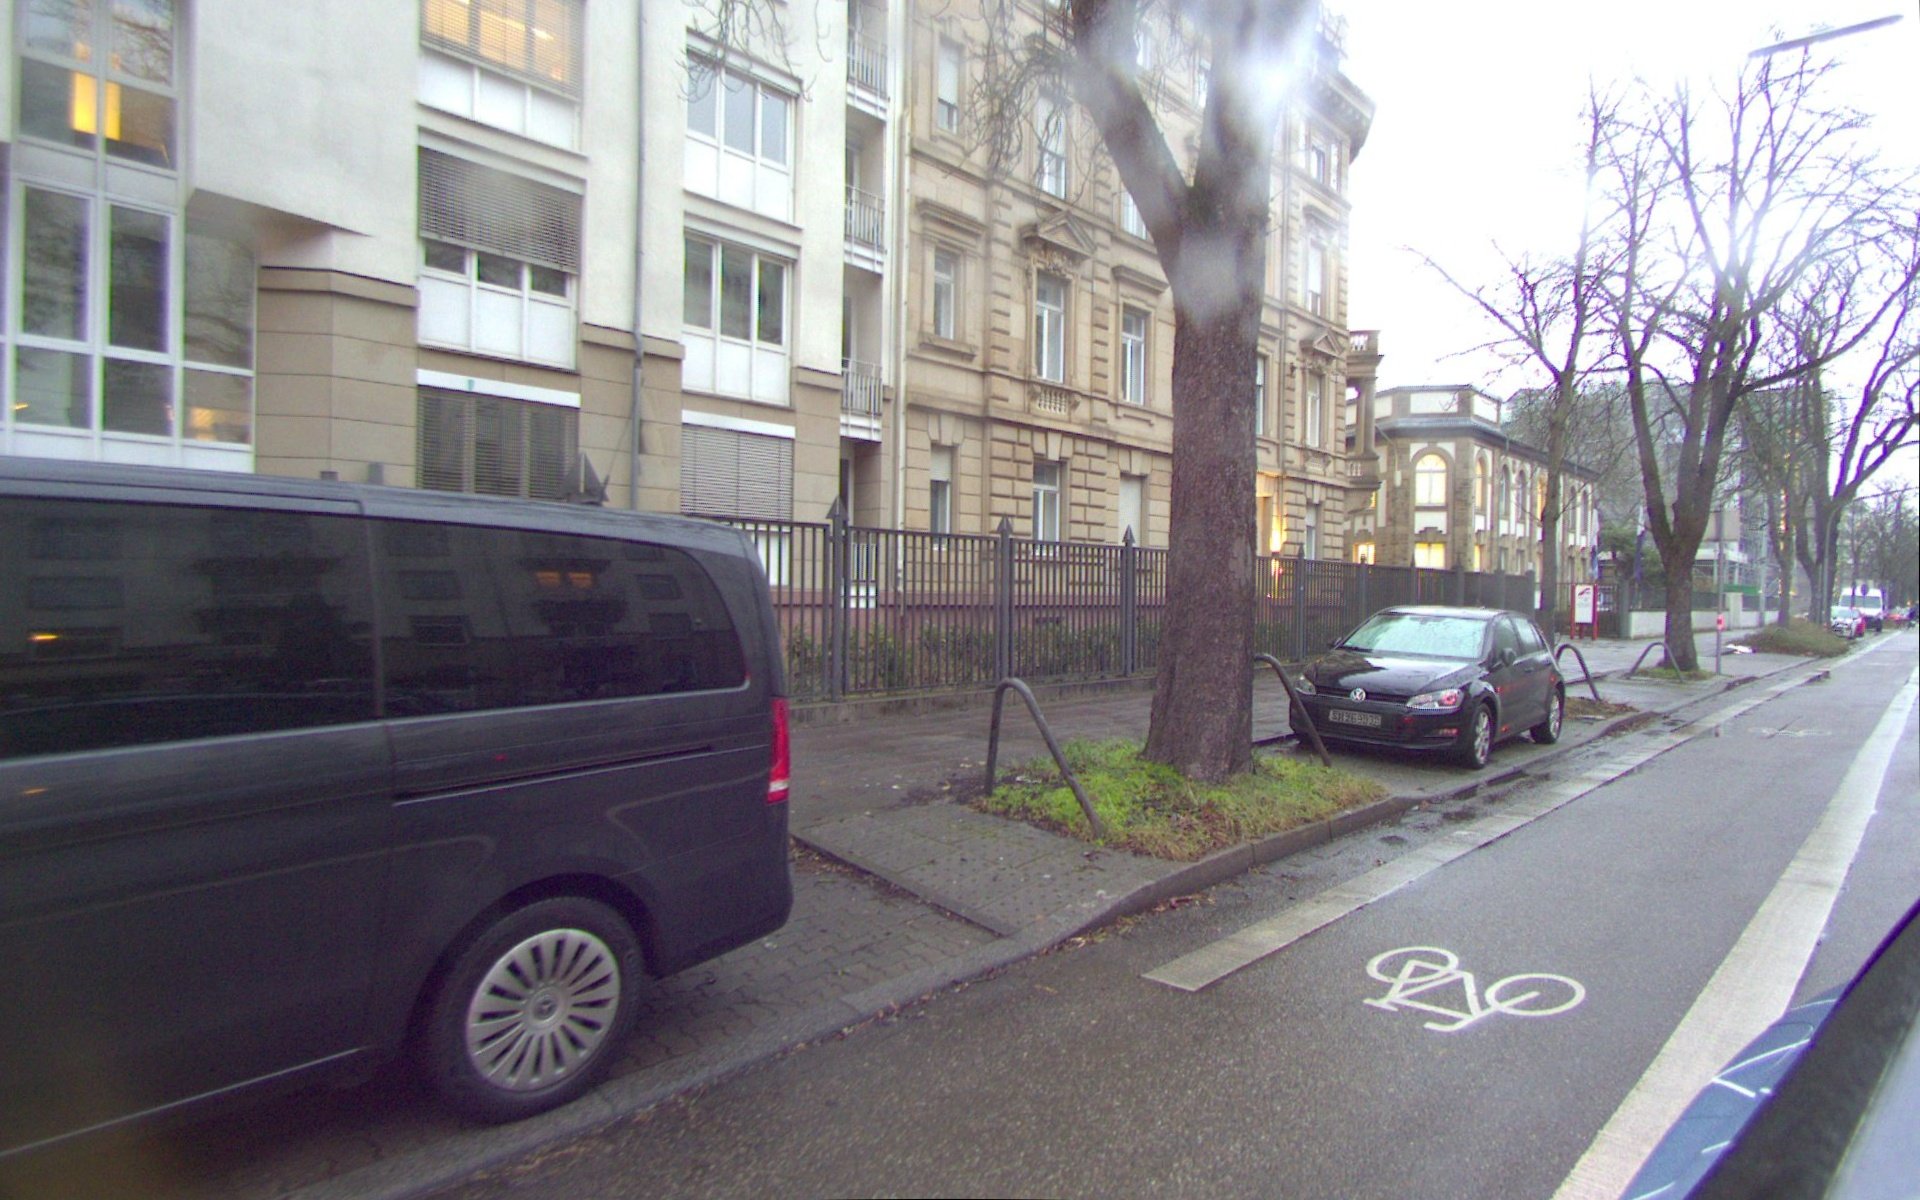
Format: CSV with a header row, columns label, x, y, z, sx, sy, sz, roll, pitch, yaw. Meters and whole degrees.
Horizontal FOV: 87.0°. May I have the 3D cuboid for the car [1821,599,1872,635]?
label,x,y,z,sx,sy,sz,roll,pitch,yaw
car,38.314,0.697,43.722,1.623,1.425,3.939,0,1,42

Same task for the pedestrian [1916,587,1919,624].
label,x,y,z,sx,sy,sz,roll,pitch,yaw
pedestrian,60.785,0.347,63.532,1.115,2.287,0.938,0,0,43

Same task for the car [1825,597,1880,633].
label,x,y,z,sx,sy,sz,roll,pitch,yaw
car,44.988,0.700,50.996,1.992,1.703,3.939,0,1,42

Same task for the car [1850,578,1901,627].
label,x,y,z,sx,sy,sz,roll,pitch,yaw
car,52.208,0.110,57.744,2.086,2.670,5.367,0,1,42

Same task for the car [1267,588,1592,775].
label,x,y,z,sx,sy,sz,roll,pitch,yaw
car,4.991,0.687,10.467,1.758,1.463,4.091,4,2,44

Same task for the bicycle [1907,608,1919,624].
label,x,y,z,sx,sy,sz,roll,pitch,yaw
bicycle,60.786,1.027,63.533,1.913,1.004,0.845,1,1,44

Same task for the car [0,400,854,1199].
label,x,y,z,sx,sy,sz,roll,pitch,yaw
car,-2.834,0.508,2.640,4.882,1.899,2.032,0,2,-45
